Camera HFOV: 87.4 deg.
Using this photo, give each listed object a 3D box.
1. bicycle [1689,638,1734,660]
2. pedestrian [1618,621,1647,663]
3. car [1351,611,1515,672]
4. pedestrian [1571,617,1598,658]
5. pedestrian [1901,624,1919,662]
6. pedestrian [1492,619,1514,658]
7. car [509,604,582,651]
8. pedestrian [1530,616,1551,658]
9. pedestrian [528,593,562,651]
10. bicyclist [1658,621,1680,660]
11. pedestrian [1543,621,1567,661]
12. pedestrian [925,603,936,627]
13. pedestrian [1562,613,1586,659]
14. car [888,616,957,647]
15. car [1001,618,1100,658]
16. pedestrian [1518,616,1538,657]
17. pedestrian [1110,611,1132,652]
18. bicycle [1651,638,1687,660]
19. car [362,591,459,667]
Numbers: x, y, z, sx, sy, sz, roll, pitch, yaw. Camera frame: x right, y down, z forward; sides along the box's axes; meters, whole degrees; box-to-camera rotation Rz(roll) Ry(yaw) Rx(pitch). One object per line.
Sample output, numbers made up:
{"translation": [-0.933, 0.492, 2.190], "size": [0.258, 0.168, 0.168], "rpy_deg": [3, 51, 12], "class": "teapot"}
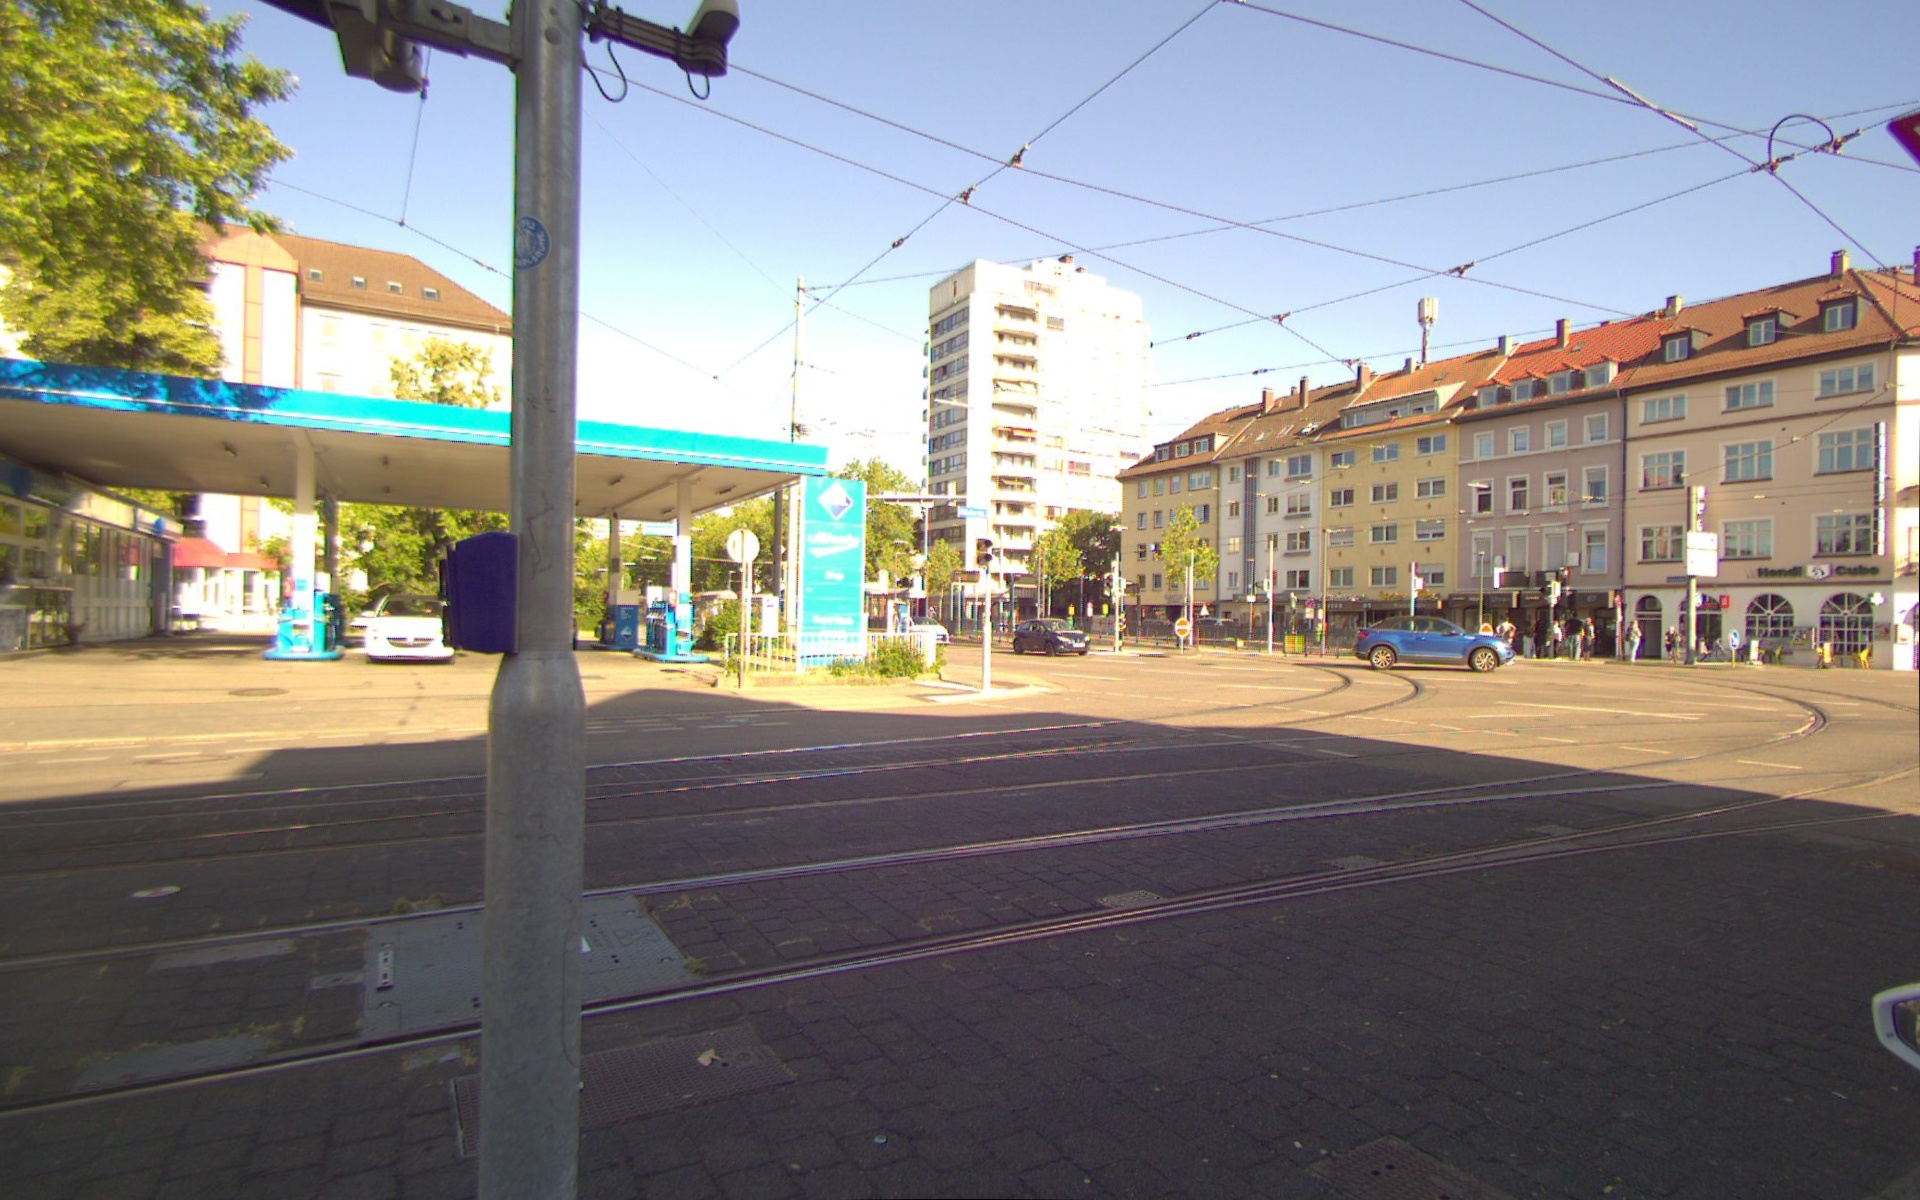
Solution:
{"translation": [37.840, 2.469, 50.591], "size": [0.603, 0.996, 1.693], "rpy_deg": [2, 0, -29], "class": "bicycle"}
{"translation": [26.498, 1.651, 39.581], "size": [0.805, 1.615, 0.665], "rpy_deg": [2, 0, -30], "class": "pedestrian"}
{"translation": [13.483, 1.148, 28.861], "size": [4.119, 1.596, 1.830], "rpy_deg": [1, 0, 24], "class": "car"}
{"translation": [25.500, 1.536, 41.037], "size": [0.831, 1.670, 0.579], "rpy_deg": [2, 0, -30], "class": "pedestrian"}
{"translation": [43.021, 1.942, 45.358], "size": [0.577, 1.698, 0.498], "rpy_deg": [2, 0, 15], "class": "pedestrian"}
{"translation": [23.894, 1.686, 44.167], "size": [0.609, 1.670, 0.581], "rpy_deg": [2, 0, -30], "class": "pedestrian"}
{"translation": [-13.514, 0.862, 32.643], "size": [1.659, 1.372, 3.559], "rpy_deg": [2, 0, -31], "class": "car"}
{"translation": [23.782, 1.516, 41.134], "size": [0.492, 1.670, 0.520], "rpy_deg": [2, 0, -30], "class": "pedestrian"}
{"translation": [-12.559, 0.677, 30.371], "size": [0.838, 1.724, 0.644], "rpy_deg": [2, -3, -31], "class": "pedestrian"}
{"translation": [33.989, 1.938, 48.145], "size": [0.606, 1.814, 0.619], "rpy_deg": [2, 0, -25], "class": "bicyclist"}
{"translation": [25.124, 1.720, 42.389], "size": [0.719, 1.670, 0.570], "rpy_deg": [2, 0, -30], "class": "pedestrian"}
{"translation": [-2.668, 1.307, 90.101], "size": [0.729, 2.127, 0.880], "rpy_deg": [2, 0, -21], "class": "pedestrian"}
{"translation": [24.773, 1.458, 40.548], "size": [0.669, 1.847, 0.524], "rpy_deg": [2, 0, -30], "class": "pedestrian"}
{"translation": [-1.925, 1.545, 49.849], "size": [1.875, 1.473, 3.978], "rpy_deg": [1, -1, -29], "class": "car"}
{"translation": [3.440, 1.440, 38.924], "size": [1.811, 1.422, 3.965], "rpy_deg": [1, -1, -32], "class": "car"}
{"translation": [23.583, 1.513, 41.732], "size": [0.492, 1.670, 0.520], "rpy_deg": [2, 0, -30], "class": "pedestrian"}
{"translation": [6.531, 1.263, 40.776], "size": [0.751, 1.631, 0.613], "rpy_deg": [2, 0, -3], "class": "pedestrian"}
{"translation": [33.960, 2.347, 48.136], "size": [1.731, 1.044, 0.619], "rpy_deg": [2, 0, -25], "class": "bicycle"}
{"translation": [-12.212, 0.594, 22.352], "size": [1.723, 1.455, 3.905], "rpy_deg": [2, 1, -29], "class": "car"}
